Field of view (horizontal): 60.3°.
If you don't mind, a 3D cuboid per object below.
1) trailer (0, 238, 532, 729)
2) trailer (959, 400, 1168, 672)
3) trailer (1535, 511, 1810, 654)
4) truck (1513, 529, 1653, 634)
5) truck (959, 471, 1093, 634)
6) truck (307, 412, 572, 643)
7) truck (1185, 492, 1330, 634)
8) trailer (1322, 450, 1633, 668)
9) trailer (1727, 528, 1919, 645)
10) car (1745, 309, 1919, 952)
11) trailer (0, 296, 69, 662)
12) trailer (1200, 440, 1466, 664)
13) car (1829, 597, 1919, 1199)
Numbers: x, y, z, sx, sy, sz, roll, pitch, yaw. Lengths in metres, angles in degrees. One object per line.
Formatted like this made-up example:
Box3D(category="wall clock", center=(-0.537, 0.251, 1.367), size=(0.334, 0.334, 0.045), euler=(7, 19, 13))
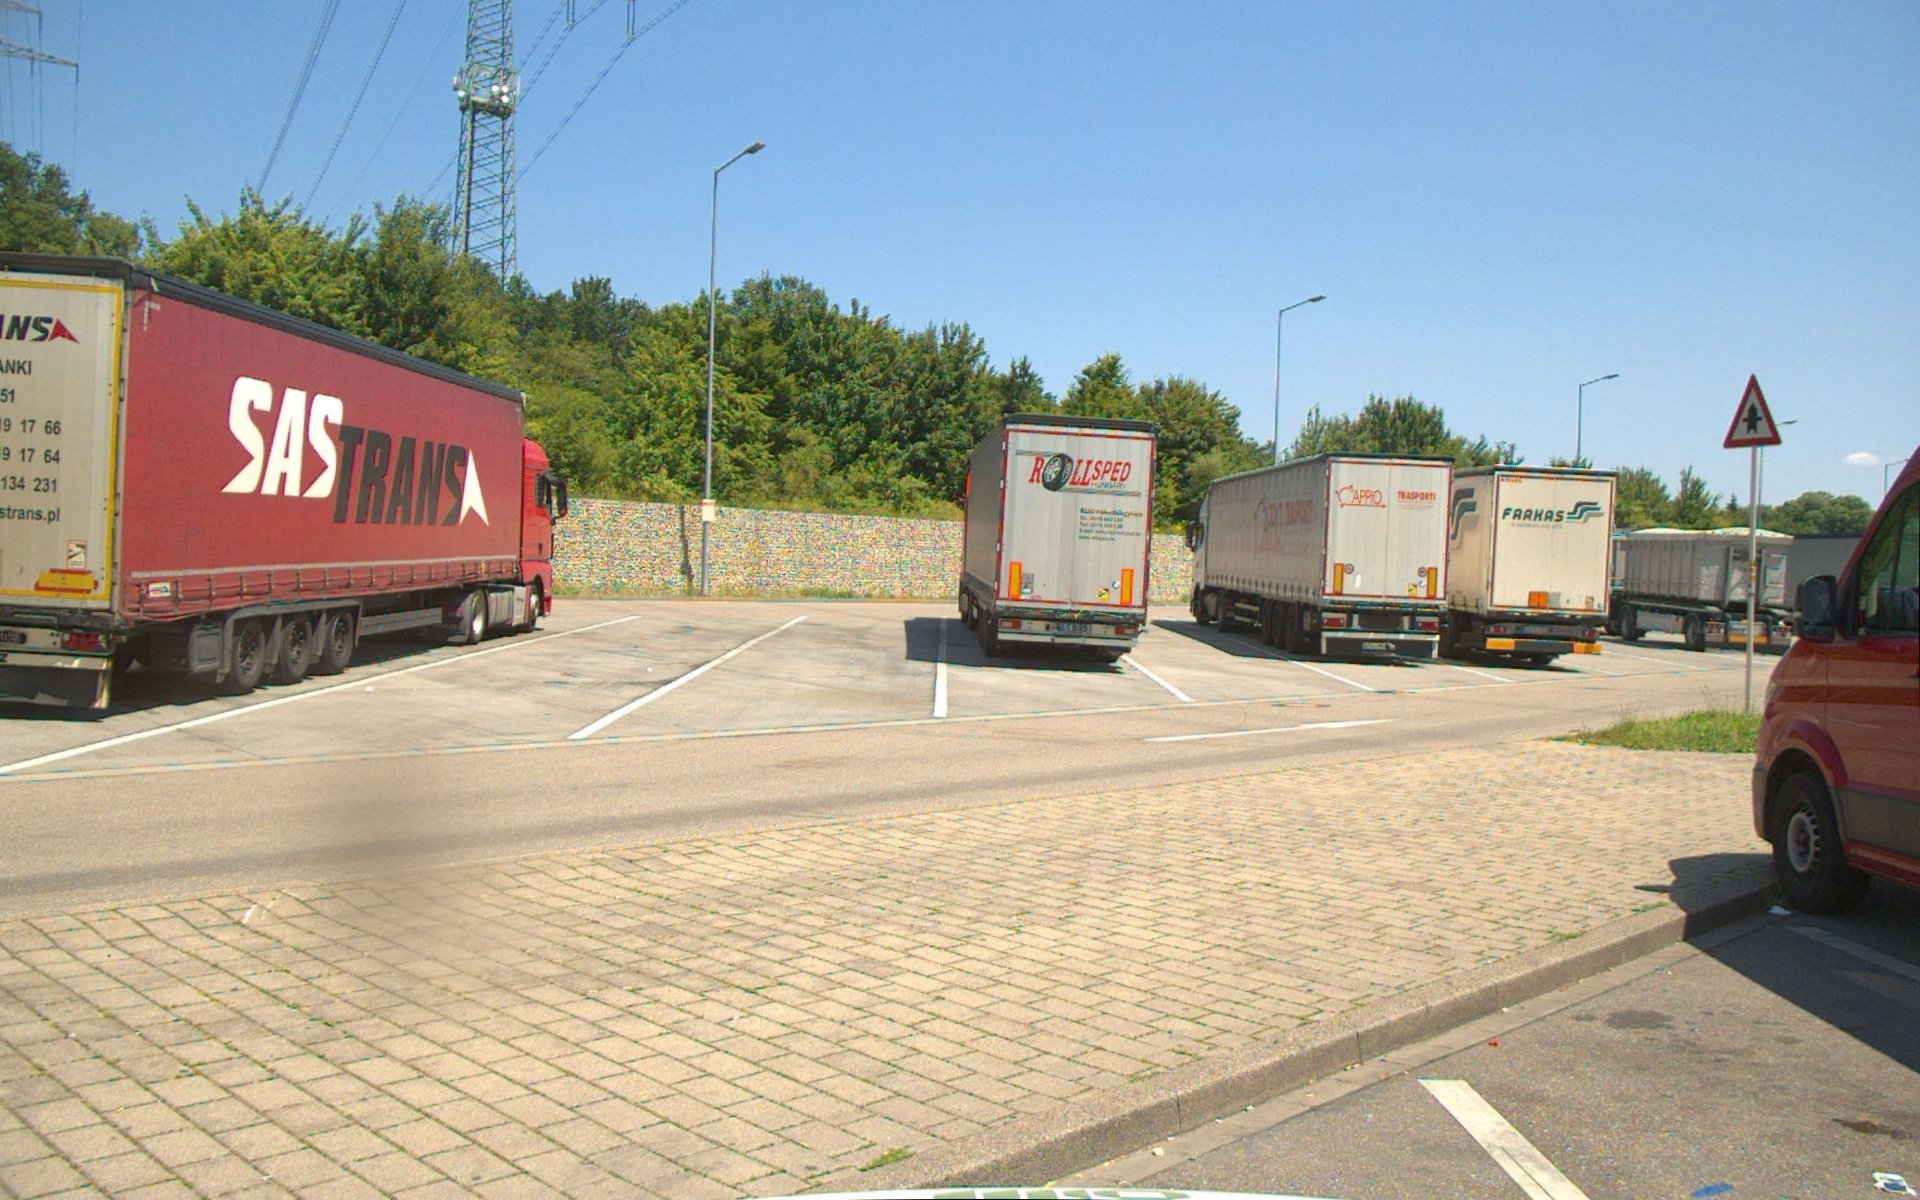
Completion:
Box3D(category="trailer", center=(-8.681, -1.299, 21.187), size=(2.848, 4.203, 13.723), euler=(2, 2, -1))
Box3D(category="trailer", center=(1.647, -1.232, 33.241), size=(2.848, 4.204, 13.720), euler=(2, 2, -2))
Box3D(category="trailer", center=(21.922, -0.684, 52.213), size=(2.780, 3.781, 13.726), euler=(3, 2, 1))
Box3D(category="truck", center=(22.002, -0.715, 58.717), size=(2.794, 3.423, 5.484), euler=(3, 2, 0))
Box3D(category="truck", center=(1.478, -1.145, 39.851), size=(2.794, 3.544, 5.482), euler=(2, 2, -1))
Box3D(category="truck", center=(-8.795, -1.209, 28.623), size=(2.794, 3.487, 5.482), euler=(2, 2, -1))
Box3D(category="truck", center=(8.091, -1.039, 45.641), size=(2.794, 3.544, 5.482), euler=(2, 2, -1))
Box3D(category="trailer", center=(11.766, -1.018, 39.637), size=(2.781, 4.204, 13.722), euler=(2, 2, -1))
Box3D(category="trailer", center=(34.932, -0.642, 65.418), size=(2.780, 4.119, 13.726), euler=(3, 2, 1))
Box3D(category="car", center=(5.011, 0.165, 5.563), size=(2.023, 2.742, 6.397), euler=(1, 1, 4))
Box3D(category="trailer", center=(-12.525, -1.311, 15.704), size=(2.673, 4.282, 10.170), euler=(2, 2, -1))
Box3D(category="trailer", center=(8.207, -1.139, 38.831), size=(2.781, 4.204, 13.722), euler=(2, 2, -1))
Box3D(category="car", center=(2.600, 0.799, 1.158), size=(1.703, 1.508, 3.813), euler=(1, 1, -6))
